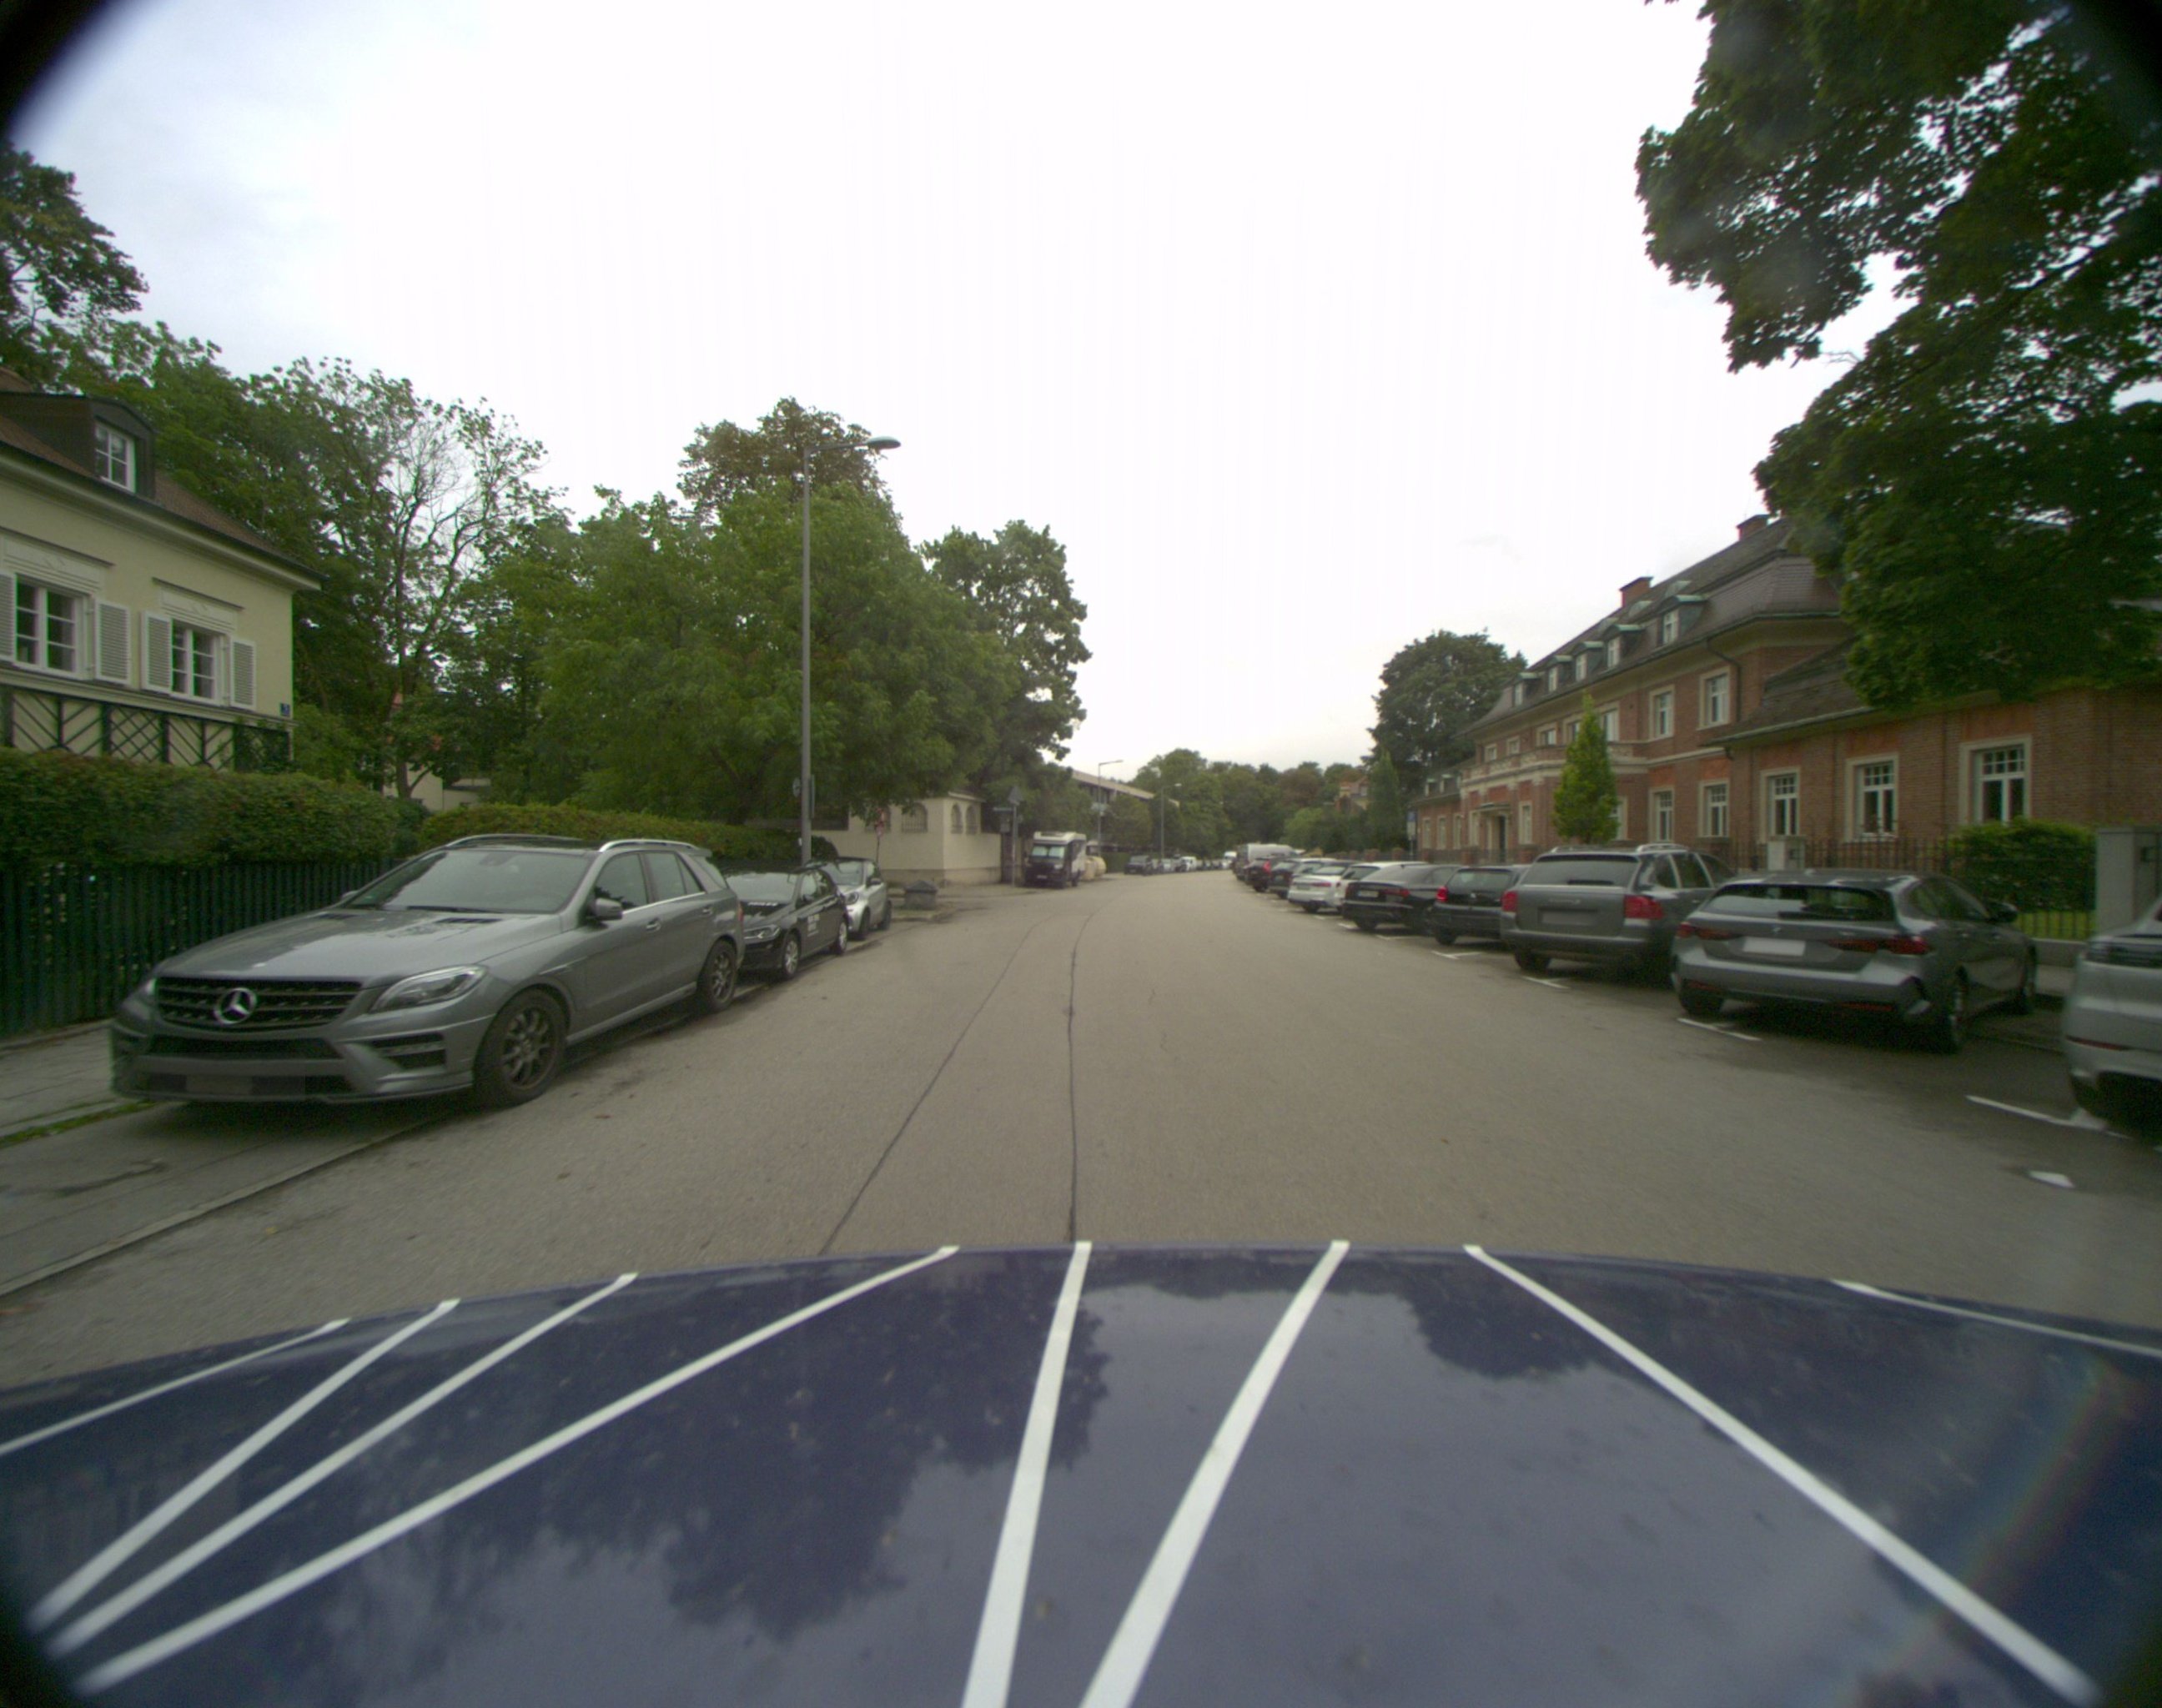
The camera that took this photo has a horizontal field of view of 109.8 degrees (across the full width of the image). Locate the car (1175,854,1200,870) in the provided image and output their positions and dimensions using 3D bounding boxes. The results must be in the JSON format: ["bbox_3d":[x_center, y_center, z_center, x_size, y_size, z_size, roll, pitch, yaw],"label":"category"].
[{"bbox_3d":[12.871,0.941,91.646,1.824,1.849,4.906,-1,-1,22],"label":"car"}]

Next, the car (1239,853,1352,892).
[{"bbox_3d":[9.667,0.832,34.304,4.531,1.655,1.984,1,1,-20],"label":"car"}]

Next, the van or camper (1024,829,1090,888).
[{"bbox_3d":[-1.157,0.218,41.172,2.276,2.889,7.282,0,0,9],"label":"van or camper"}]

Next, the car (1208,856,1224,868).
[{"bbox_3d":[19.105,1.139,107.135,1.282,1.497,5.216,2,0,20],"label":"car"}]

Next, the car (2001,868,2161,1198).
[{"bbox_3d":[7.580,0.908,4.045,4.417,1.611,2.082,0,1,-21],"label":"car"}]

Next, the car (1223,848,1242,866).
[{"bbox_3d":[23.769,0.427,119.203,2.081,2.671,6.098,2,0,19],"label":"car"}]

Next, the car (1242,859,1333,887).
[{"bbox_3d":[11.251,1.036,41.460,4.532,1.442,1.817,1,0,-20],"label":"car"}]

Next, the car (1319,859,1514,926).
[{"bbox_3d":[8.519,0.984,19.263,4.523,1.501,1.928,2,0,-24],"label":"car"}]

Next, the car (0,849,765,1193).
[{"bbox_3d":[-4.564,0.851,6.271,1.999,1.701,4.883,2,0,-2],"label":"car"}]

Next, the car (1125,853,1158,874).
[{"bbox_3d":[5.754,0.893,72.001,1.990,1.860,5.084,-1,0,18],"label":"car"}]

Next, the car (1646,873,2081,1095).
[{"bbox_3d":[7.761,0.984,7.458,4.420,1.482,2.012,0,1,-31],"label":"car"}]

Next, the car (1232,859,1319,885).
[{"bbox_3d":[11.330,1.043,44.310,4.530,1.442,1.974,1,0,-17],"label":"car"}]

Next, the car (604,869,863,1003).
[{"bbox_3d":[-4.628,0.999,10.916,1.882,1.419,4.221,2,0,-2],"label":"car"}]

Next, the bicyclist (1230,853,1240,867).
[{"bbox_3d":[15.082,0.553,74.342,0.697,1.344,0.932,0,0,28],"label":"bicyclist"}]

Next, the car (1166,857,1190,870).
[{"bbox_3d":[11.118,1.093,86.791,1.749,1.471,4.605,-1,-1,21],"label":"car"}]

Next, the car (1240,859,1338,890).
[{"bbox_3d":[10.645,1.038,38.857,4.532,1.409,1.924,2,0,-20],"label":"car"}]

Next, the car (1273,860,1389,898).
[{"bbox_3d":[10.479,1.052,31.914,4.334,1.463,1.817,2,0,-18],"label":"car"}]

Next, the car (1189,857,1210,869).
[{"bbox_3d":[15.167,1.143,97.072,1.749,1.455,4.249,1,0,20],"label":"car"}]

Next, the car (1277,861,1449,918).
[{"bbox_3d":[8.013,0.954,21.598,4.522,1.442,1.893,1,0,-24],"label":"car"}]

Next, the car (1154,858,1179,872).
[{"bbox_3d":[9.312,1.133,82.532,1.749,1.472,3.894,0,0,20],"label":"car"}]

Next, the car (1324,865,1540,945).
[{"bbox_3d":[7.491,0.982,16.128,4.420,1.431,1.961,0,1,-30],"label":"car"}]

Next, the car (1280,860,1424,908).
[{"bbox_3d":[8.878,0.960,24.867,4.400,1.442,1.654,1,0,-21],"label":"car"}]

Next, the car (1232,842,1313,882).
[{"bbox_3d":[12.612,0.522,50.259,4.639,2.548,2.232,1,0,-13],"label":"car"}]

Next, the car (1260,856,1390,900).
[{"bbox_3d":[9.299,0.884,28.919,4.532,1.558,1.886,0,0,-22],"label":"car"}]

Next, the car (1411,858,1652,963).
[{"bbox_3d":[8.297,0.898,13.897,4.420,1.620,1.960,0,1,-32],"label":"car"}]

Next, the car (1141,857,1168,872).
[{"bbox_3d":[7.496,1.059,77.092,1.750,1.530,4.576,0,0,18],"label":"car"}]

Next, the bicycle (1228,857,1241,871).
[{"bbox_3d":[15.086,0.973,74.436,0.707,1.298,2.122,0,0,27],"label":"bicycle"}]

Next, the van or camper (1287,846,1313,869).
[{"bbox_3d":[29.470,0.452,102.167,2.457,2.923,7.223,2,0,22],"label":"van or camper"}]

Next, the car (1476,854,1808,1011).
[{"bbox_3d":[7.688,0.857,10.345,4.420,1.689,2.131,0,1,-32],"label":"car"}]

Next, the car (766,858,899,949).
[{"bbox_3d":[-4.791,0.894,15.056,1.744,1.527,2.945,2,1,-2],"label":"car"}]
